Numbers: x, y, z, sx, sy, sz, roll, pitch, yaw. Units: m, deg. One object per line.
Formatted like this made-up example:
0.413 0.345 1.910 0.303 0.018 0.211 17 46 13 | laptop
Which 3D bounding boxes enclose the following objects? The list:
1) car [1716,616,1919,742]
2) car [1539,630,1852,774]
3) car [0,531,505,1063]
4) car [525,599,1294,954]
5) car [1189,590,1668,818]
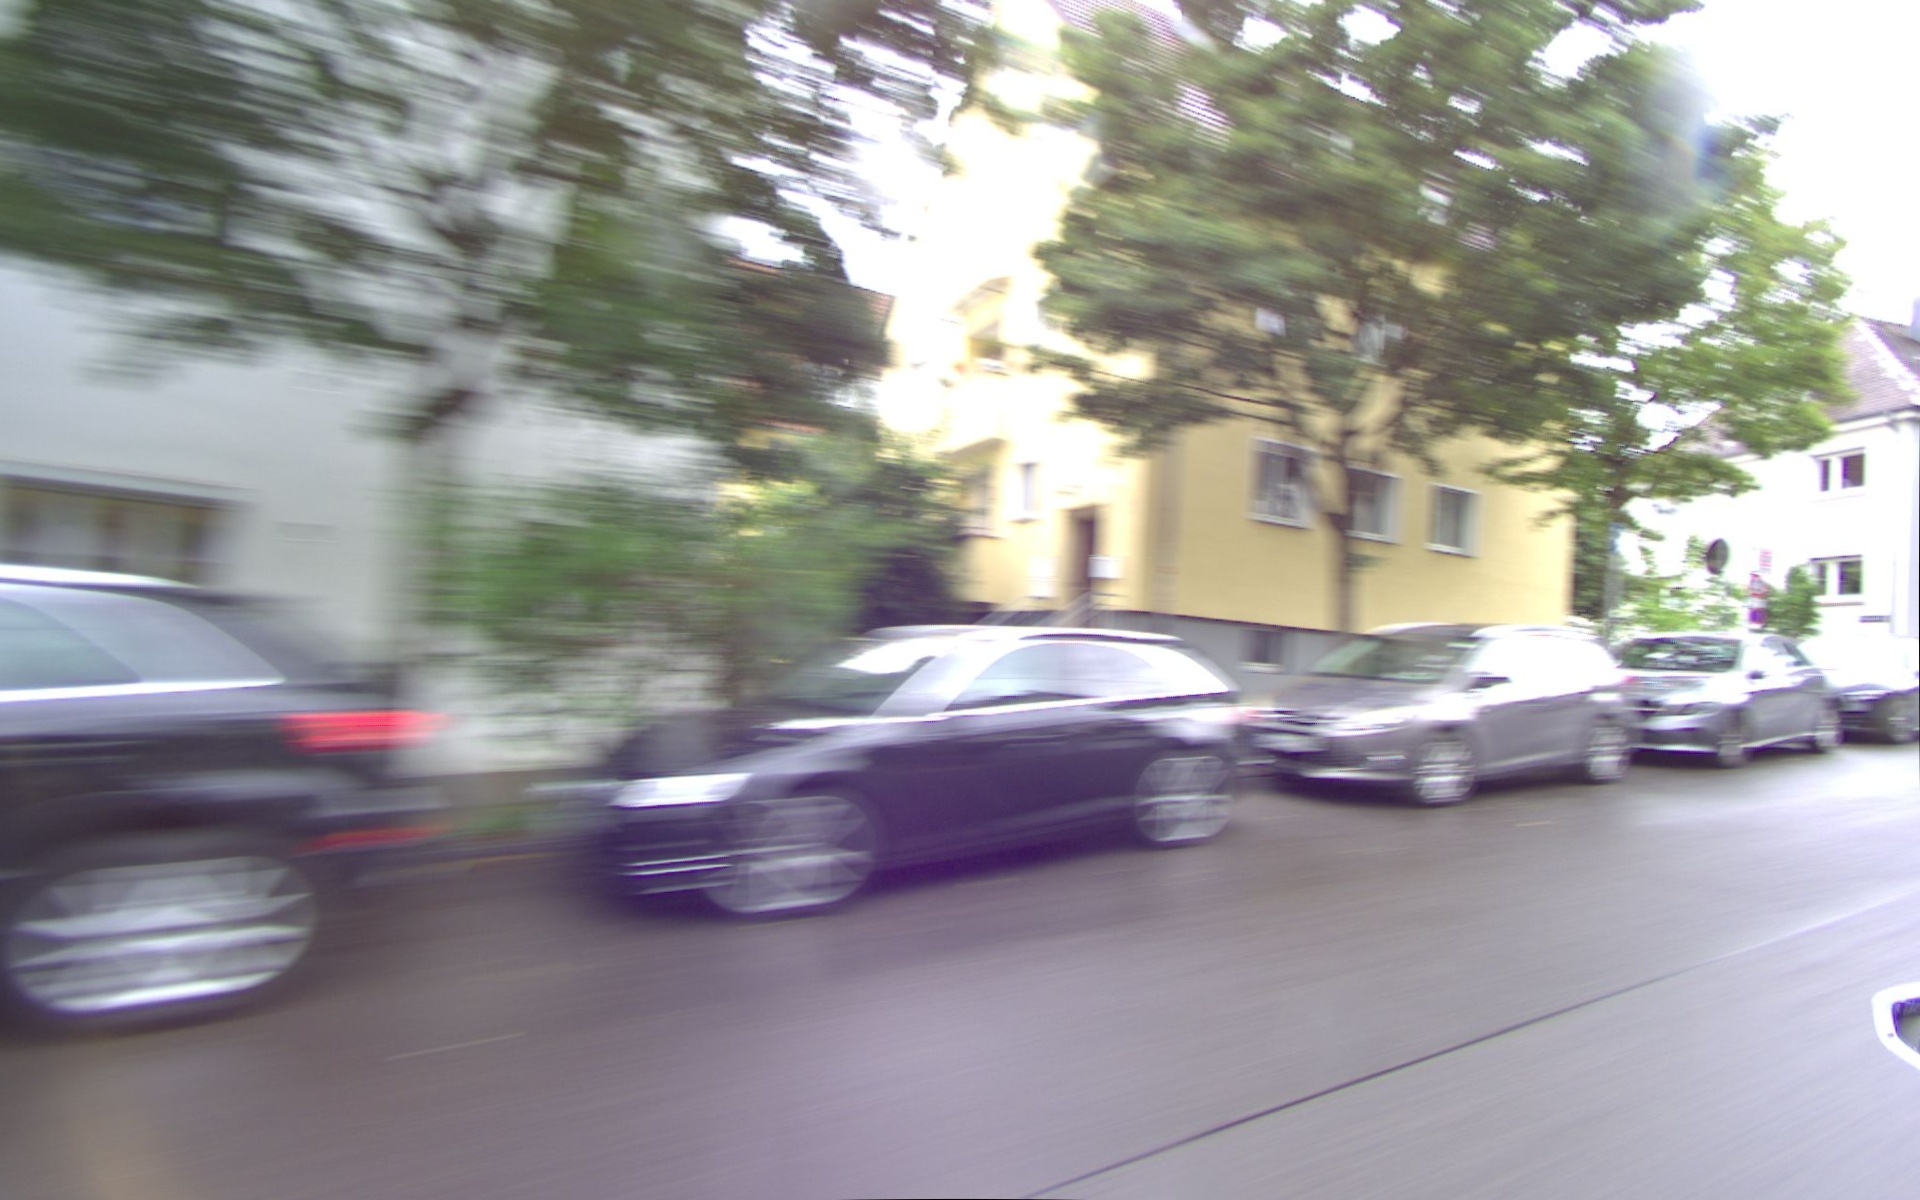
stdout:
13.127 1.080 14.555 4.461 1.561 1.768 2 0 -29 | car
8.838 1.097 11.963 4.276 1.415 1.605 2 -1 -33 | car
-4.207 0.606 3.547 4.536 1.690 1.844 2 -1 -32 | car
-0.081 0.807 6.437 4.695 1.518 1.841 1 -1 -36 | car
4.496 0.834 9.469 4.501 1.713 1.845 2 0 -30 | car
